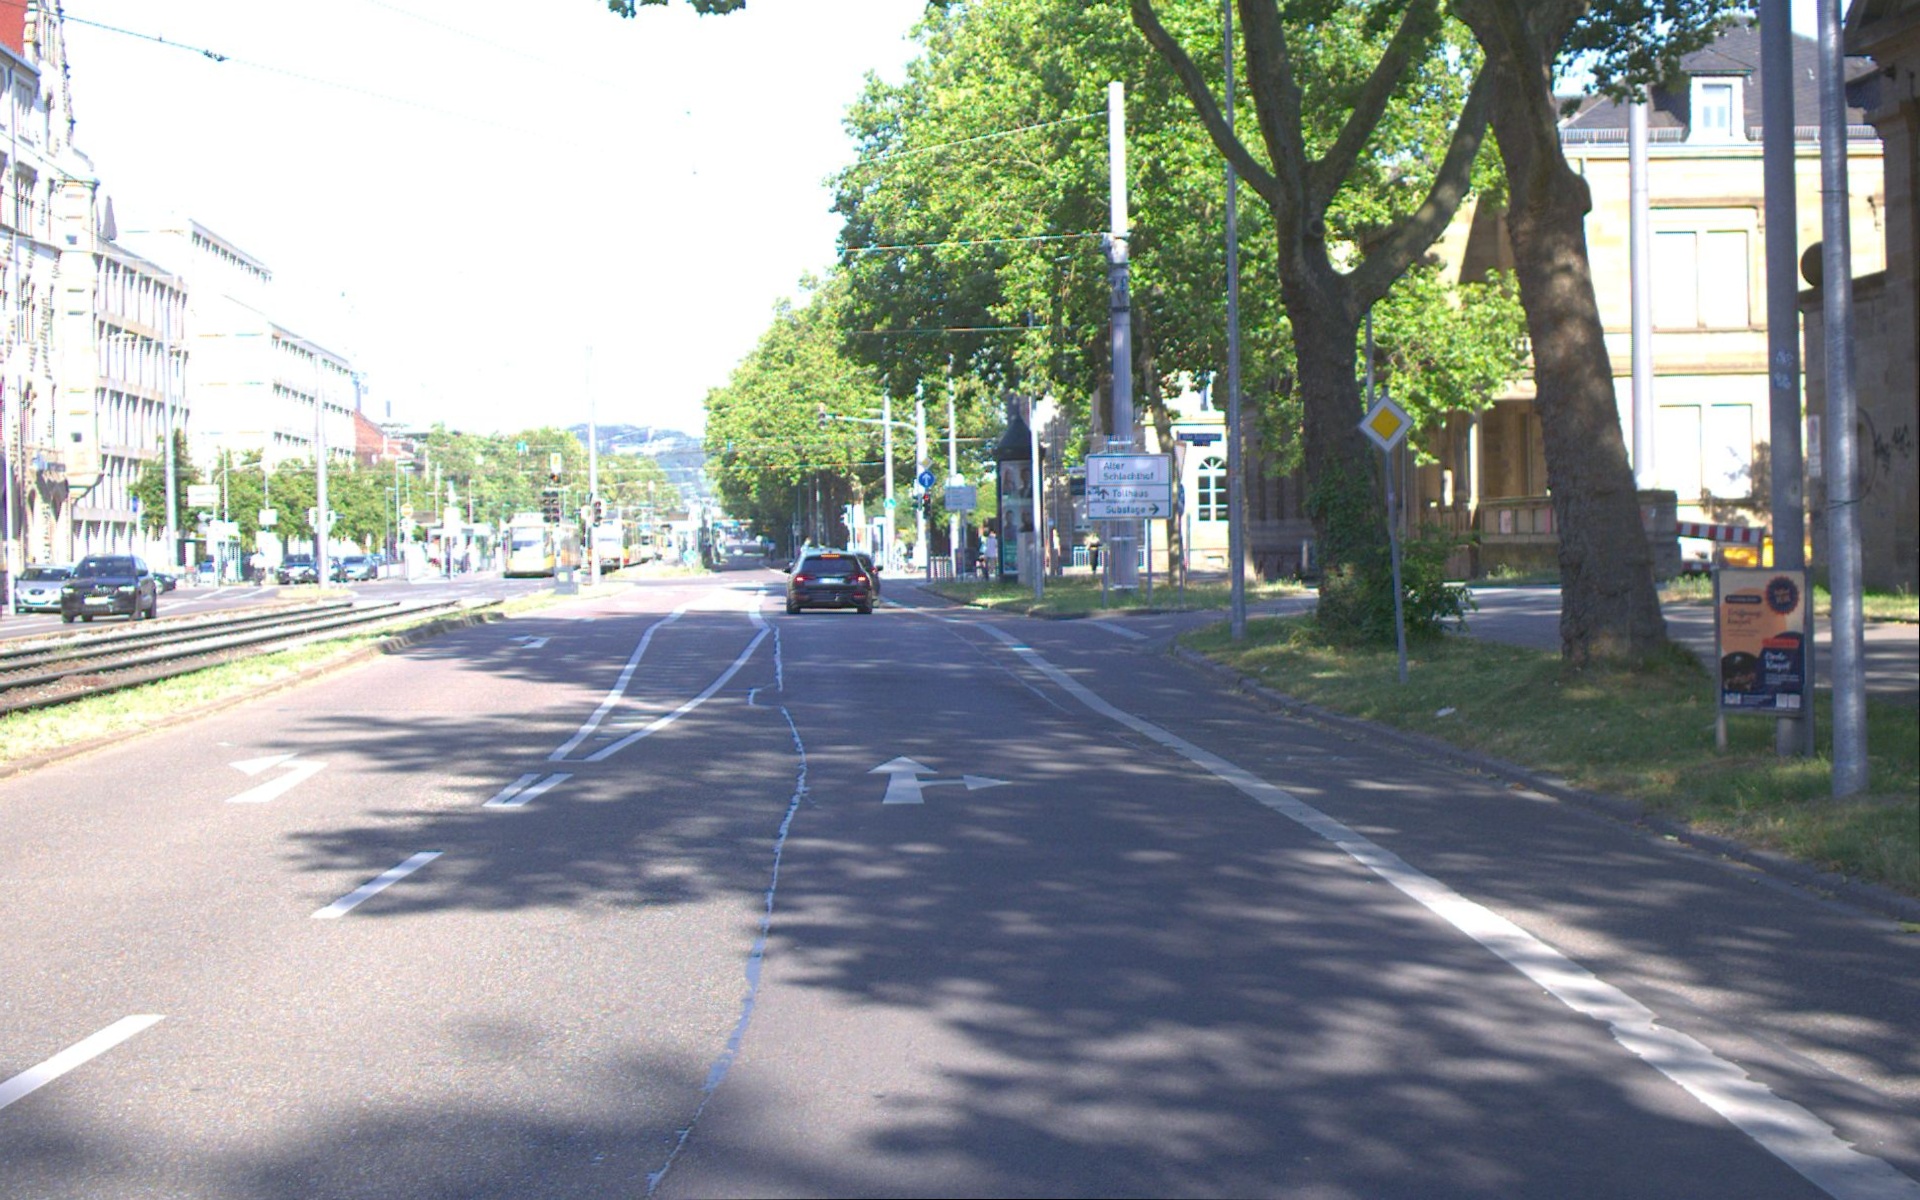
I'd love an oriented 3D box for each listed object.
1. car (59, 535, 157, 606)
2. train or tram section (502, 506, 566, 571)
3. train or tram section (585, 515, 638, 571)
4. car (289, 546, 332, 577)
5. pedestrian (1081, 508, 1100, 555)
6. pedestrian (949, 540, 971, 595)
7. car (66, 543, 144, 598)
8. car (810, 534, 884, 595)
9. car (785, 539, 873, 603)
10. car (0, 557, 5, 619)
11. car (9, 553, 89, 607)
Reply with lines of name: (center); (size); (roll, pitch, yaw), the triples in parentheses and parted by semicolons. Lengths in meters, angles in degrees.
car: (-20.477, -0.733, 82.746); (1.635, 1.596, 4.160); (-3, 2, -6)
train or tram section: (-23.529, -3.404, 190.233); (2.825, 3.439, 9.065); (-2, 1, -3)
train or tram section: (-22.435, -3.721, 221.661); (2.825, 3.439, 9.065); (-2, 1, -3)
car: (-33.849, -2.025, 179.221); (1.794, 1.505, 4.001); (-2, 1, -6)
pedestrian: (4.764, -2.492, 125.077); (0.588, 1.722, 0.650); (1, 1, 11)
pedestrian: (-0.002, -1.042, 109.613); (0.588, 1.722, 0.650); (1, 1, 9)
car: (-28.121, -0.997, 113.186); (1.794, 1.713, 4.186); (2, 1, -5)
car: (-2.935, -0.934, 88.720); (1.794, 1.505, 4.001); (-2, 1, -3)
car: (-3.004, -0.678, 78.091); (1.833, 1.386, 4.160); (-1, 1, -4)
car: (-26.294, -0.309, 89.899); (1.686, 1.646, 4.200); (2, 1, -4)
car: (-27.011, -0.609, 101.977); (1.794, 1.505, 4.001); (2, 1, -8)
